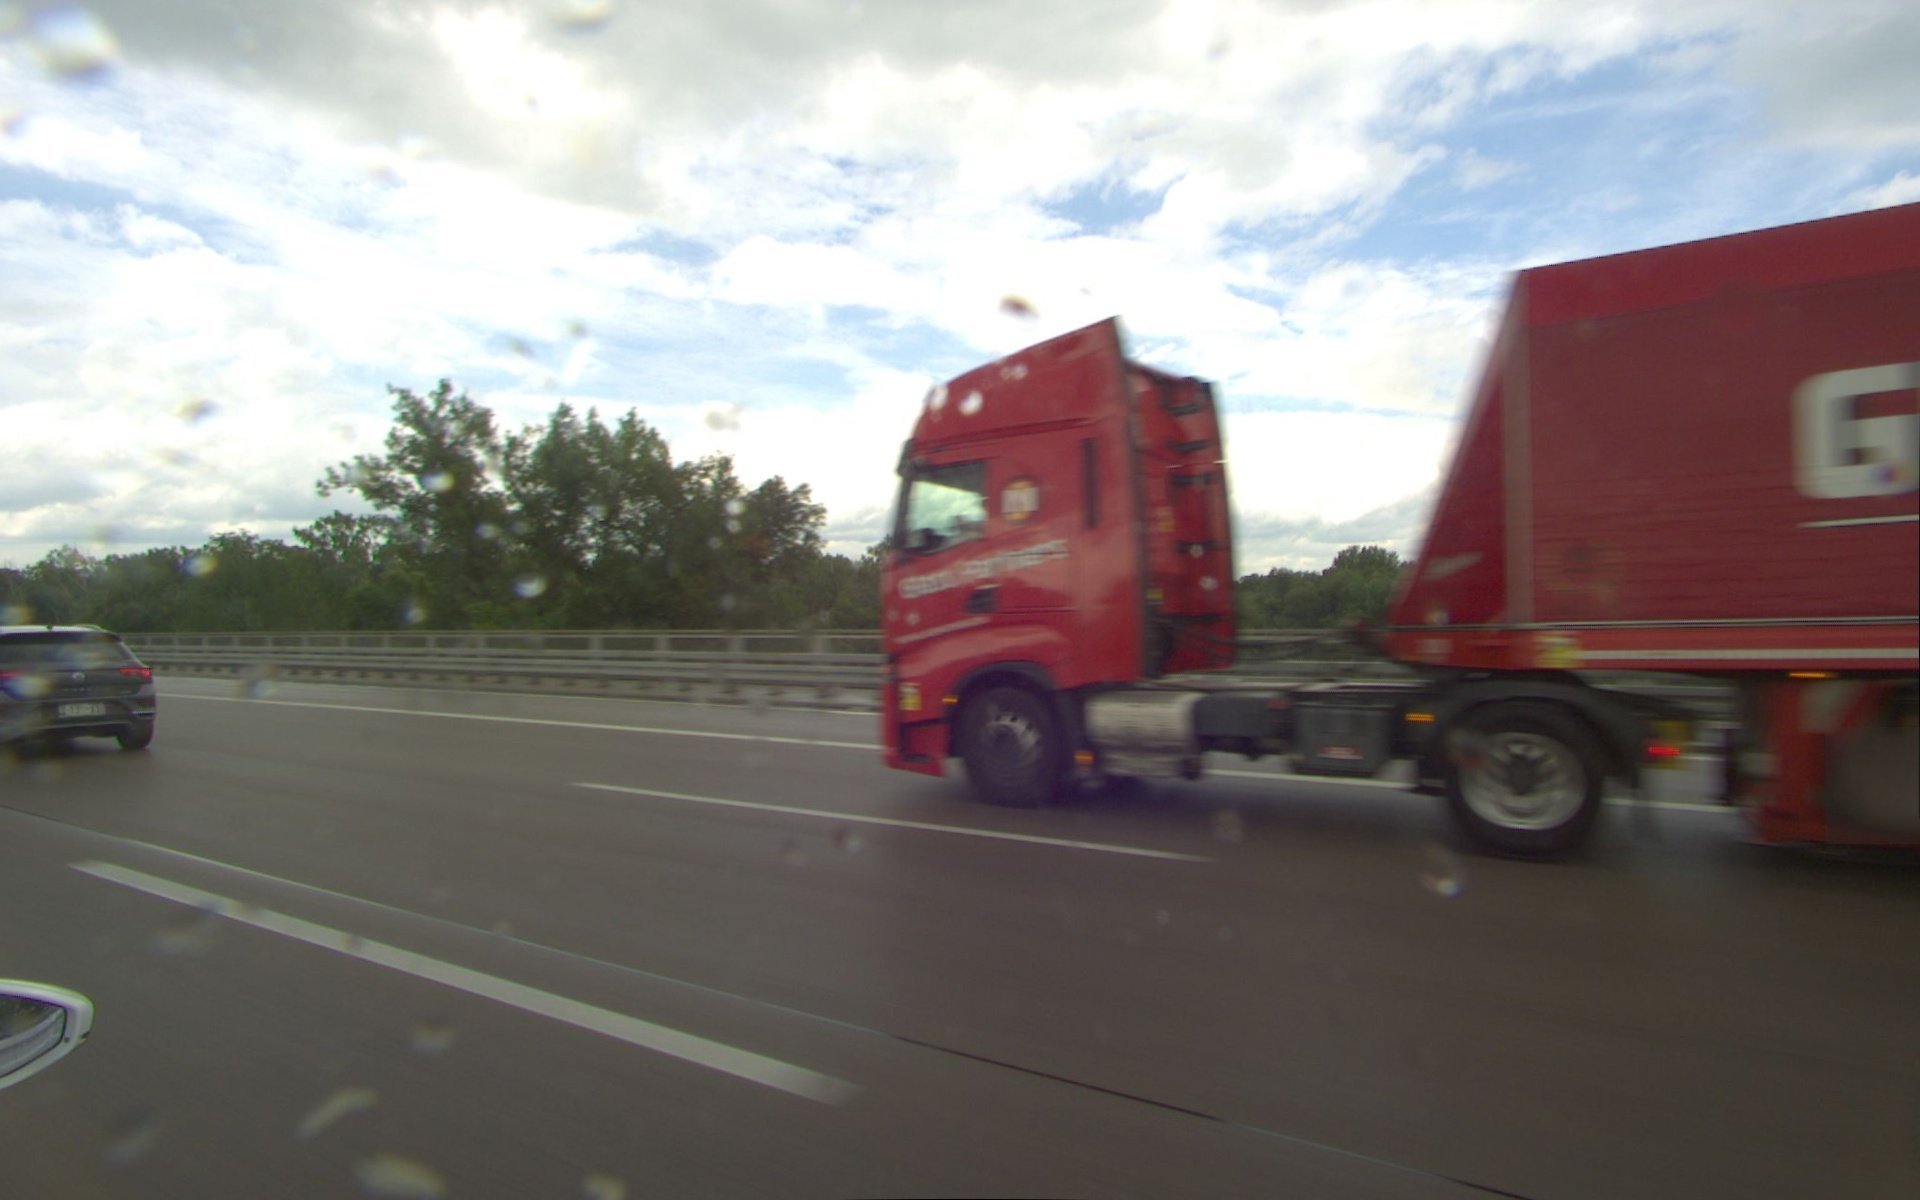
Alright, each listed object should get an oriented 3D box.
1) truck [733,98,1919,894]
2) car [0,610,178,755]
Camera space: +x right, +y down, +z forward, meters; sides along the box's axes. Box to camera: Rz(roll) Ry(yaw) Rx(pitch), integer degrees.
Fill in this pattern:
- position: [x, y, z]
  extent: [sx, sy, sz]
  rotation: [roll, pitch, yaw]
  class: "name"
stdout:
- position: [5.270, -0.495, 6.706]
  extent: [15.406, 4.055, 3.148]
  rotation: [-1, -1, 31]
  class: "truck"
- position: [-11.659, 0.957, 12.545]
  extent: [3.668, 1.582, 1.789]
  rotation: [-1, -2, 32]
  class: "car"
